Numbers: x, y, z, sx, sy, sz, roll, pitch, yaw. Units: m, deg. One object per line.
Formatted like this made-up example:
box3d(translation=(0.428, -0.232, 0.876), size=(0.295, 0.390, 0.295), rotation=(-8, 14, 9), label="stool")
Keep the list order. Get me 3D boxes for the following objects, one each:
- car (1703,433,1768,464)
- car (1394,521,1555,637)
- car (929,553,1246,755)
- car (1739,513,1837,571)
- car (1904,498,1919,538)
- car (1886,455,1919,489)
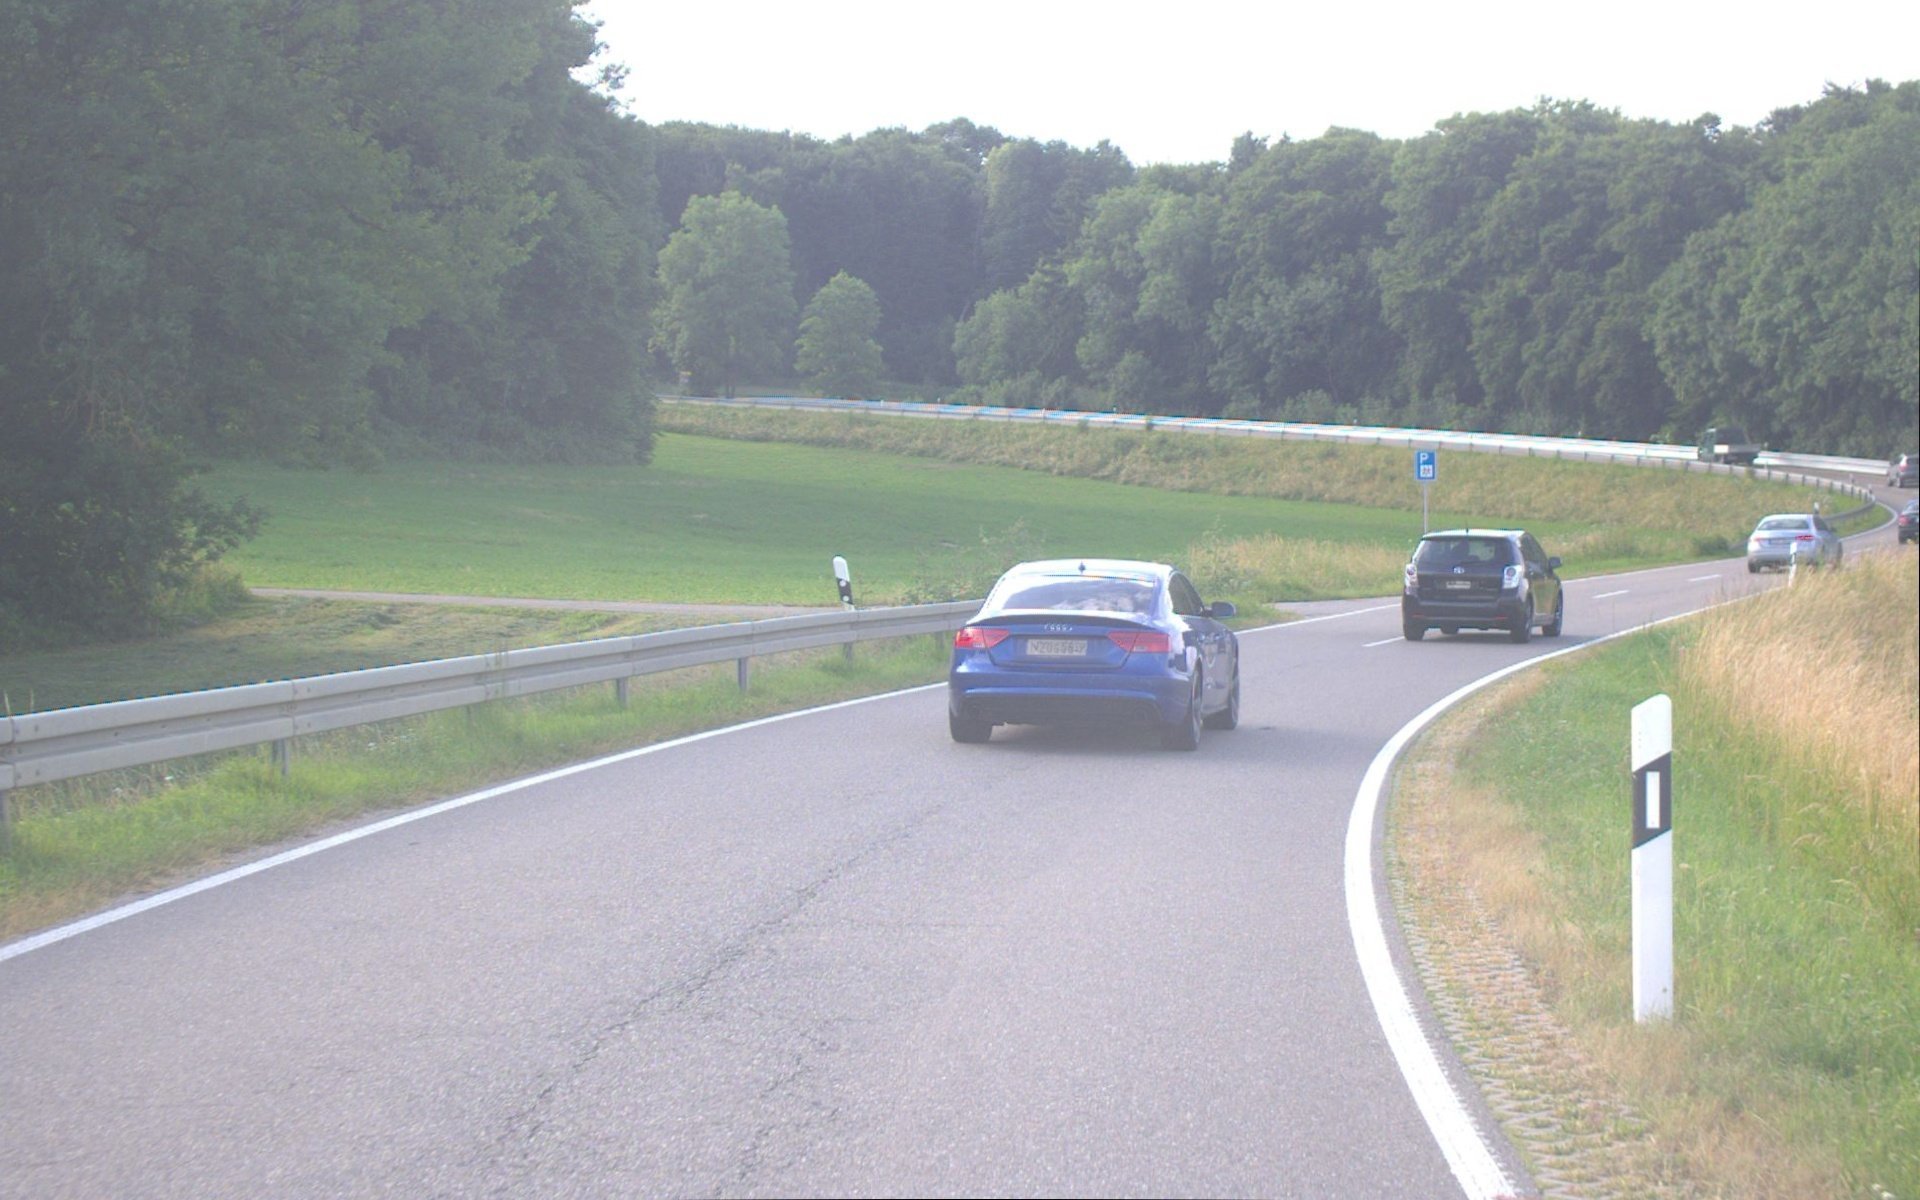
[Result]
box3d(translation=(46.508, -9.095, 206.241), size=(1.993, 1.765, 4.002), rotation=(-1, 3, -17), label="car")
box3d(translation=(7.494, -0.327, 49.803), size=(1.863, 1.563, 3.997), rotation=(1, 1, 15), label="car")
box3d(translation=(1.065, 0.348, 26.360), size=(1.819, 1.334, 4.348), rotation=(2, 1, 10), label="car")
box3d(translation=(20.655, -1.464, 85.668), size=(1.684, 1.371, 3.995), rotation=(-1, 1, 24), label="car")
box3d(translation=(31.245, -2.628, 109.333), size=(1.473, 1.223, 3.294), rotation=(-2, 1, 31), label="car")
box3d(translation=(48.369, -6.500, 174.238), size=(1.994, 1.673, 4.178), rotation=(1, 3, 4), label="car")
